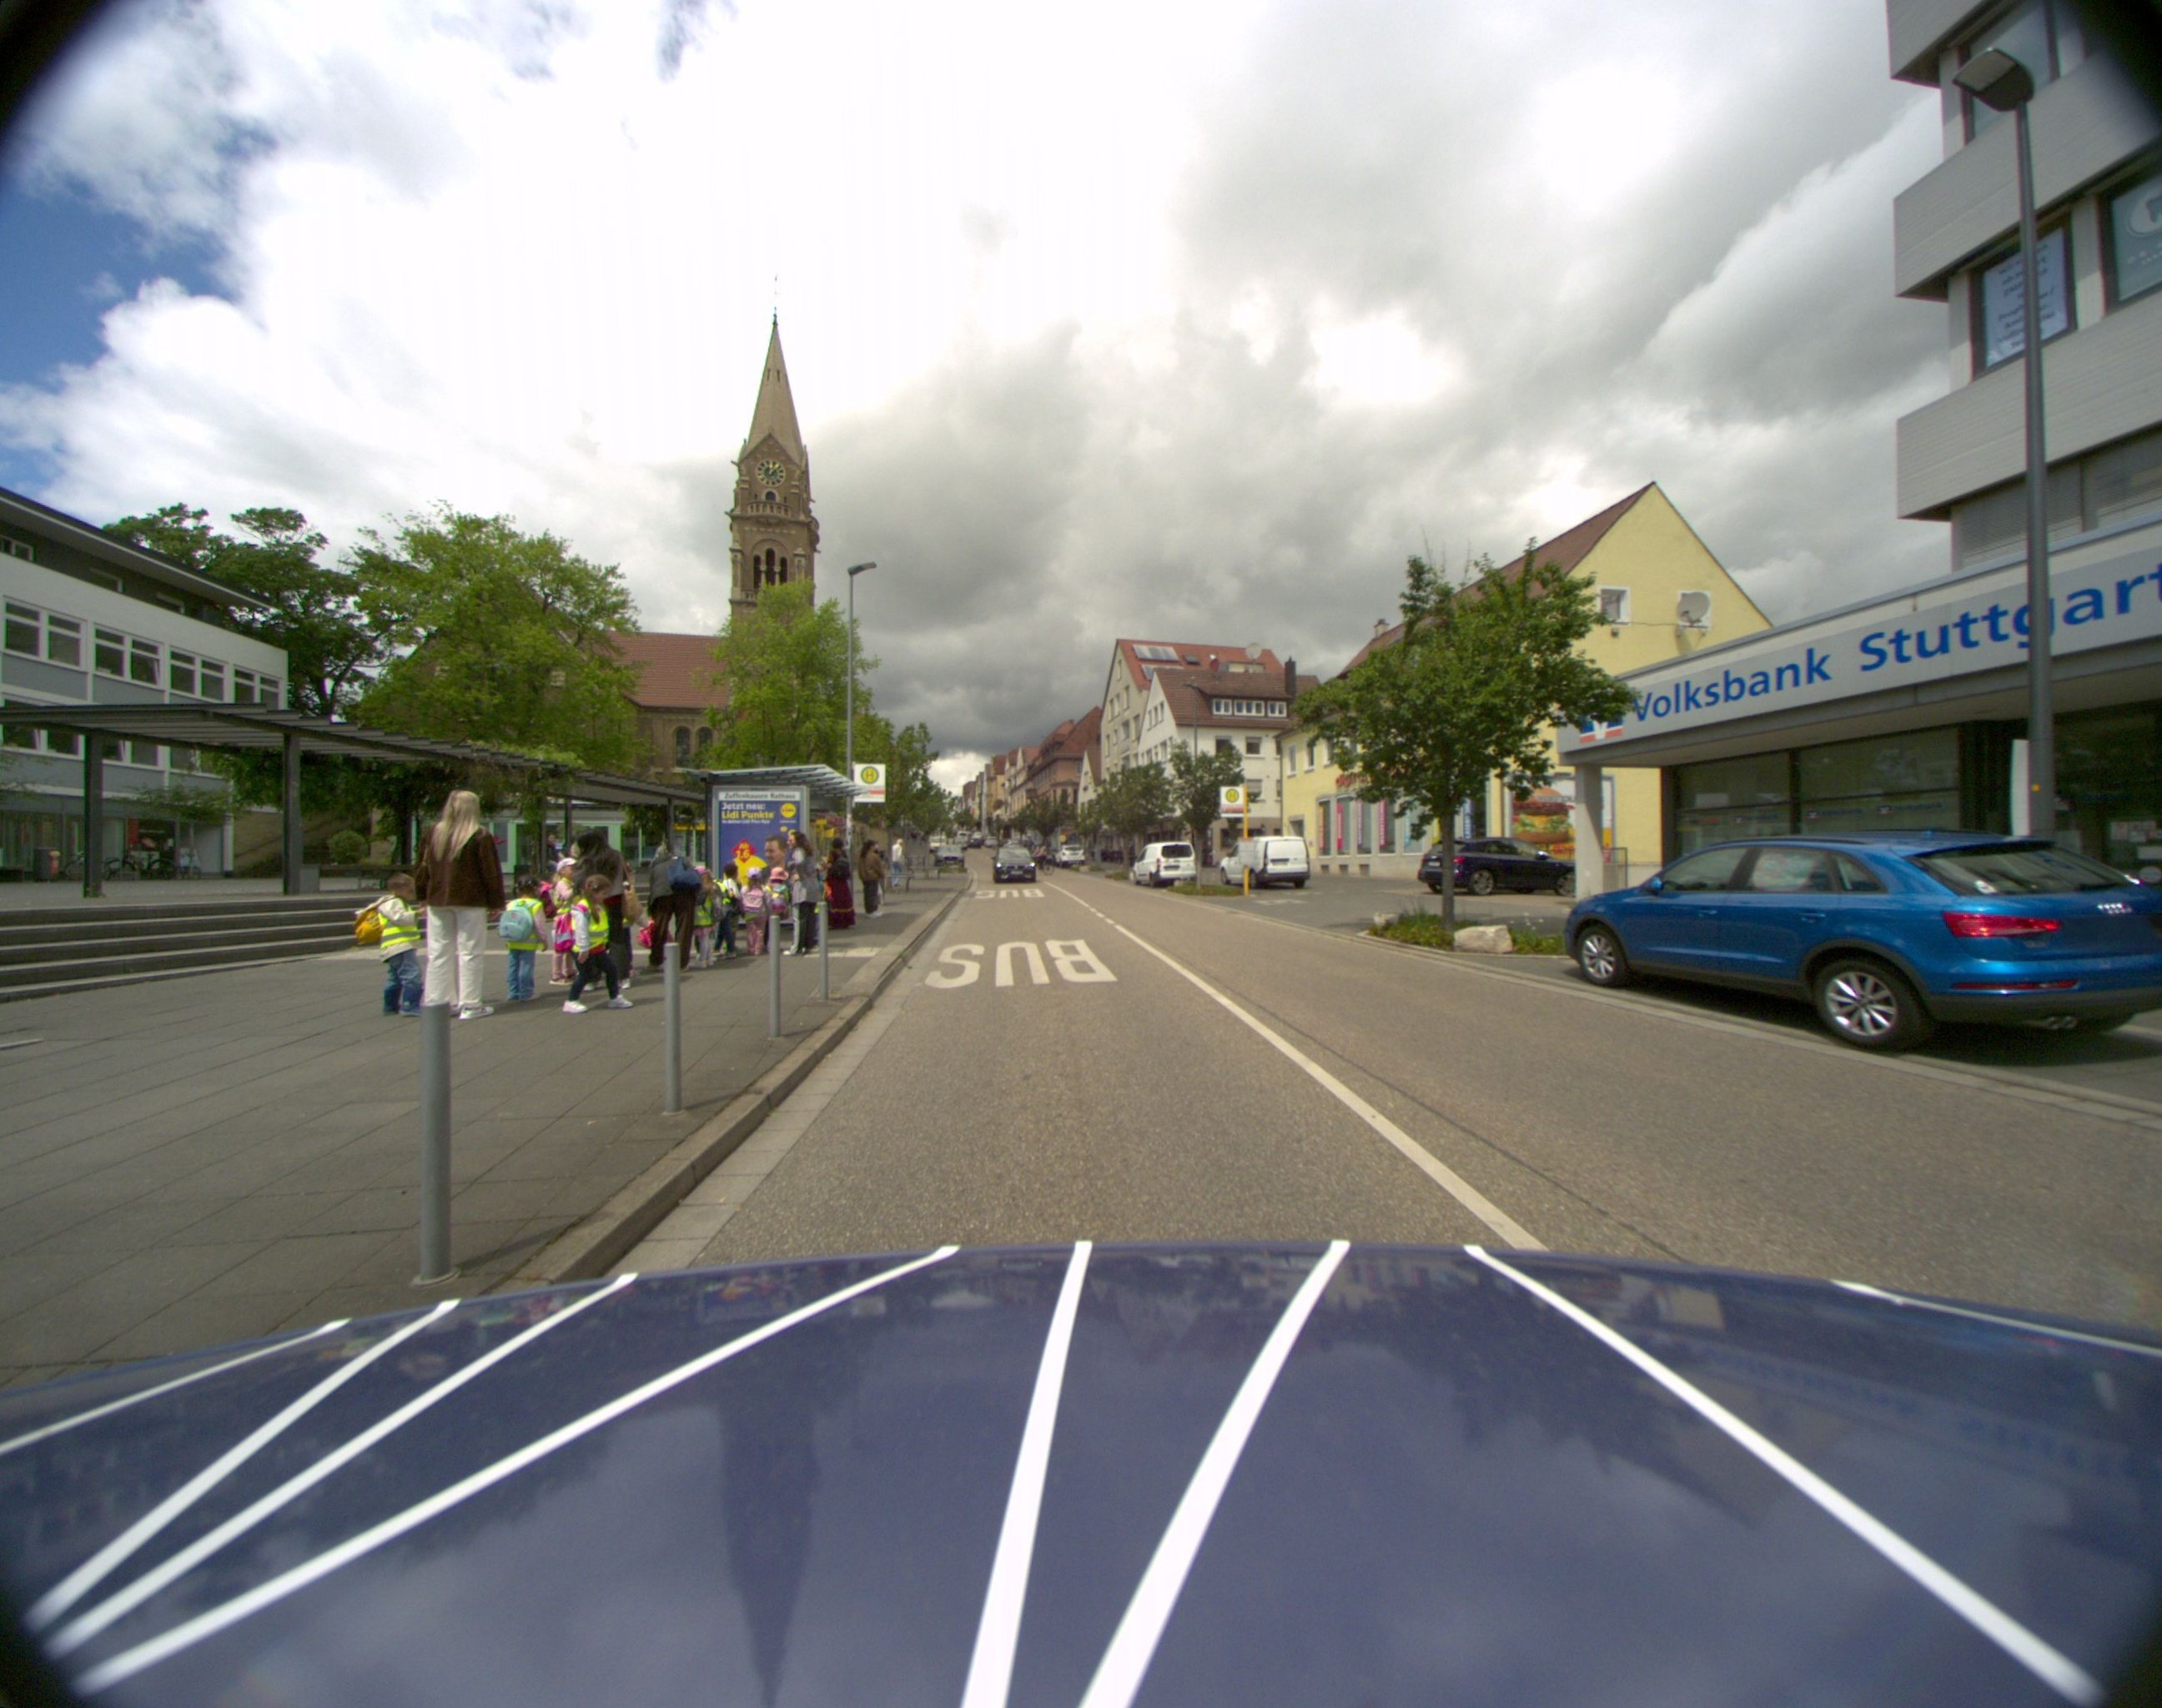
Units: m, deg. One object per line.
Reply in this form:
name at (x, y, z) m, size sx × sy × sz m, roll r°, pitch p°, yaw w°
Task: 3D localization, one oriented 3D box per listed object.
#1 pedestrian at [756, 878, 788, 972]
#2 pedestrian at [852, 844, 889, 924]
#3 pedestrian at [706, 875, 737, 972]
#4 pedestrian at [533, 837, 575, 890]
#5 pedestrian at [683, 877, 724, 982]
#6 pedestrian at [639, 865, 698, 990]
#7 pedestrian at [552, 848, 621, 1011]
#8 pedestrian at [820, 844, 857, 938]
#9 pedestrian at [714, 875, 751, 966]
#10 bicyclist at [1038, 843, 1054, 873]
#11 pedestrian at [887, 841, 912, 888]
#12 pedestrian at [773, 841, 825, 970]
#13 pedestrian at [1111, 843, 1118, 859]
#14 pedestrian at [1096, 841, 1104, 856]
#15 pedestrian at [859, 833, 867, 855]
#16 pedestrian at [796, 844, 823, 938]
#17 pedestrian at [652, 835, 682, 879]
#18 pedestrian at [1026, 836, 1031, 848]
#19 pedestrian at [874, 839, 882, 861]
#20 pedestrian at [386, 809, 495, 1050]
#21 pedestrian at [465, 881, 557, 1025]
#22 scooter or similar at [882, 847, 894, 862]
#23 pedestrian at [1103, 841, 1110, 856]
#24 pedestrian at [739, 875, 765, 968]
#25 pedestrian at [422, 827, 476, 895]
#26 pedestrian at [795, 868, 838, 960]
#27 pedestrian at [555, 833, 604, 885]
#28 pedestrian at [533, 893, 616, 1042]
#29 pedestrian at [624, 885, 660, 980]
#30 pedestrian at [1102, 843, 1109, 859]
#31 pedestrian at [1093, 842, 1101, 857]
pedestrian at (-3.858, 0.874, 9.477) m, size 0.275 × 1.145 × 0.249 m, roll 2°, pitch 1°, yaw 39°
pedestrian at (-4.186, 0.579, 15.121) m, size 0.542 × 1.540 × 0.487 m, roll 1°, pitch 1°, yaw 37°
pedestrian at (-4.446, 0.843, 9.391) m, size 0.250 × 1.167 × 0.253 m, roll 3°, pitch 1°, yaw 42°
pedestrian at (-12.440, 0.209, 17.947) m, size 0.569 × 1.220 × 0.566 m, roll -1°, pitch 1°, yaw 3°
pedestrian at (-4.345, 0.858, 8.750) m, size 0.336 × 1.160 × 0.350 m, roll 1°, pitch 3°, yaw -38°
pedestrian at (-4.547, 0.782, 8.371) m, size 0.434 × 1.296 × 0.597 m, roll 1°, pitch 2°, yaw -40°
pedestrian at (-4.730, 0.703, 7.275) m, size 0.390 × 1.508 × 0.390 m, roll 1°, pitch 1°, yaw 0°
pedestrian at (-4.130, 0.619, 12.931) m, size 0.502 × 1.557 × 0.496 m, roll 0°, pitch 1°, yaw -28°
pedestrian at (-4.539, 0.857, 9.901) m, size 0.321 × 1.145 × 0.319 m, roll 3°, pitch 1°, yaw 44°
bicyclist at (-1.956, 0.206, 42.222) m, size 0.779 × 1.685 × 0.509 m, roll -1°, pitch 2°, yaw -25°
pedestrian at (-6.530, 0.369, 27.433) m, size 0.686 × 1.672 × 0.714 m, roll 0°, pitch 1°, yaw 4°
pedestrian at (-3.651, 0.649, 9.845) m, size 0.387 × 1.610 × 0.470 m, roll 3°, pitch 1°, yaw 42°
pedestrian at (2.741, -0.229, 61.801) m, size 0.428 × 1.243 × 0.566 m, roll -1°, pitch 2°, yaw -12°
pedestrian at (1.604, -0.451, 63.069) m, size 0.552 × 1.260 × 0.598 m, roll -1°, pitch 2°, yaw -12°
pedestrian at (-15.881, -0.742, 55.346) m, size 0.474 × 1.637 × 0.506 m, roll 1°, pitch 3°, yaw 0°
pedestrian at (-4.535, 0.606, 12.711) m, size 0.395 × 1.557 × 0.351 m, roll 0°, pitch 1°, yaw -15°
pedestrian at (-12.498, 0.088, 22.936) m, size 0.625 × 1.300 × 0.546 m, roll 1°, pitch 1°, yaw -2°
pedestrian at (-6.254, -1.428, 91.290) m, size 0.497 × 1.470 × 0.527 m, roll -1°, pitch 3°, yaw -14°
pedestrian at (-15.303, -0.298, 57.179) m, size 0.474 × 1.637 × 0.506 m, roll 1°, pitch 3°, yaw 0°
pedestrian at (-5.048, 0.574, 6.009) m, size 0.542 × 1.812 × 0.435 m, roll 1°, pitch 1°, yaw -24°
pedestrian at (-5.045, 0.849, 6.742) m, size 0.390 × 1.191 × 0.512 m, roll 2°, pitch 1°, yaw 19°
scooter or similar at (-14.552, 0.037, 57.294) m, size 0.814 × 1.066 × 0.560 m, roll 1°, pitch 3°, yaw 0°
pedestrian at (2.116, -0.471, 63.202) m, size 0.396 × 1.243 × 0.499 m, roll -1°, pitch 2°, yaw -12°
pedestrian at (-4.196, 0.845, 9.679) m, size 0.265 × 1.154 × 0.270 m, roll 1°, pitch 1°, yaw -27°
pedestrian at (-12.501, 0.134, 15.041) m, size 0.569 × 1.316 × 0.545 m, roll -1°, pitch 1°, yaw 3°
pedestrian at (-3.627, 0.806, 10.442) m, size 0.403 × 1.219 × 0.388 m, roll 1°, pitch 1°, yaw 16°
pedestrian at (-12.409, 0.116, 18.822) m, size 0.769 × 1.262 × 0.677 m, roll -1°, pitch 1°, yaw 24°
pedestrian at (-4.262, 0.927, 6.395) m, size 0.389 × 1.165 × 0.477 m, roll 3°, pitch 1°, yaw 39°
pedestrian at (-5.089, 0.905, 8.817) m, size 0.251 × 1.063 × 0.252 m, roll 2°, pitch 1°, yaw 4°
pedestrian at (2.008, -0.252, 61.570) m, size 0.422 × 1.292 × 0.453 m, roll -1°, pitch 2°, yaw -12°
pedestrian at (1.398, -0.403, 66.219) m, size 0.597 × 1.240 × 0.598 m, roll -1°, pitch 2°, yaw -12°
